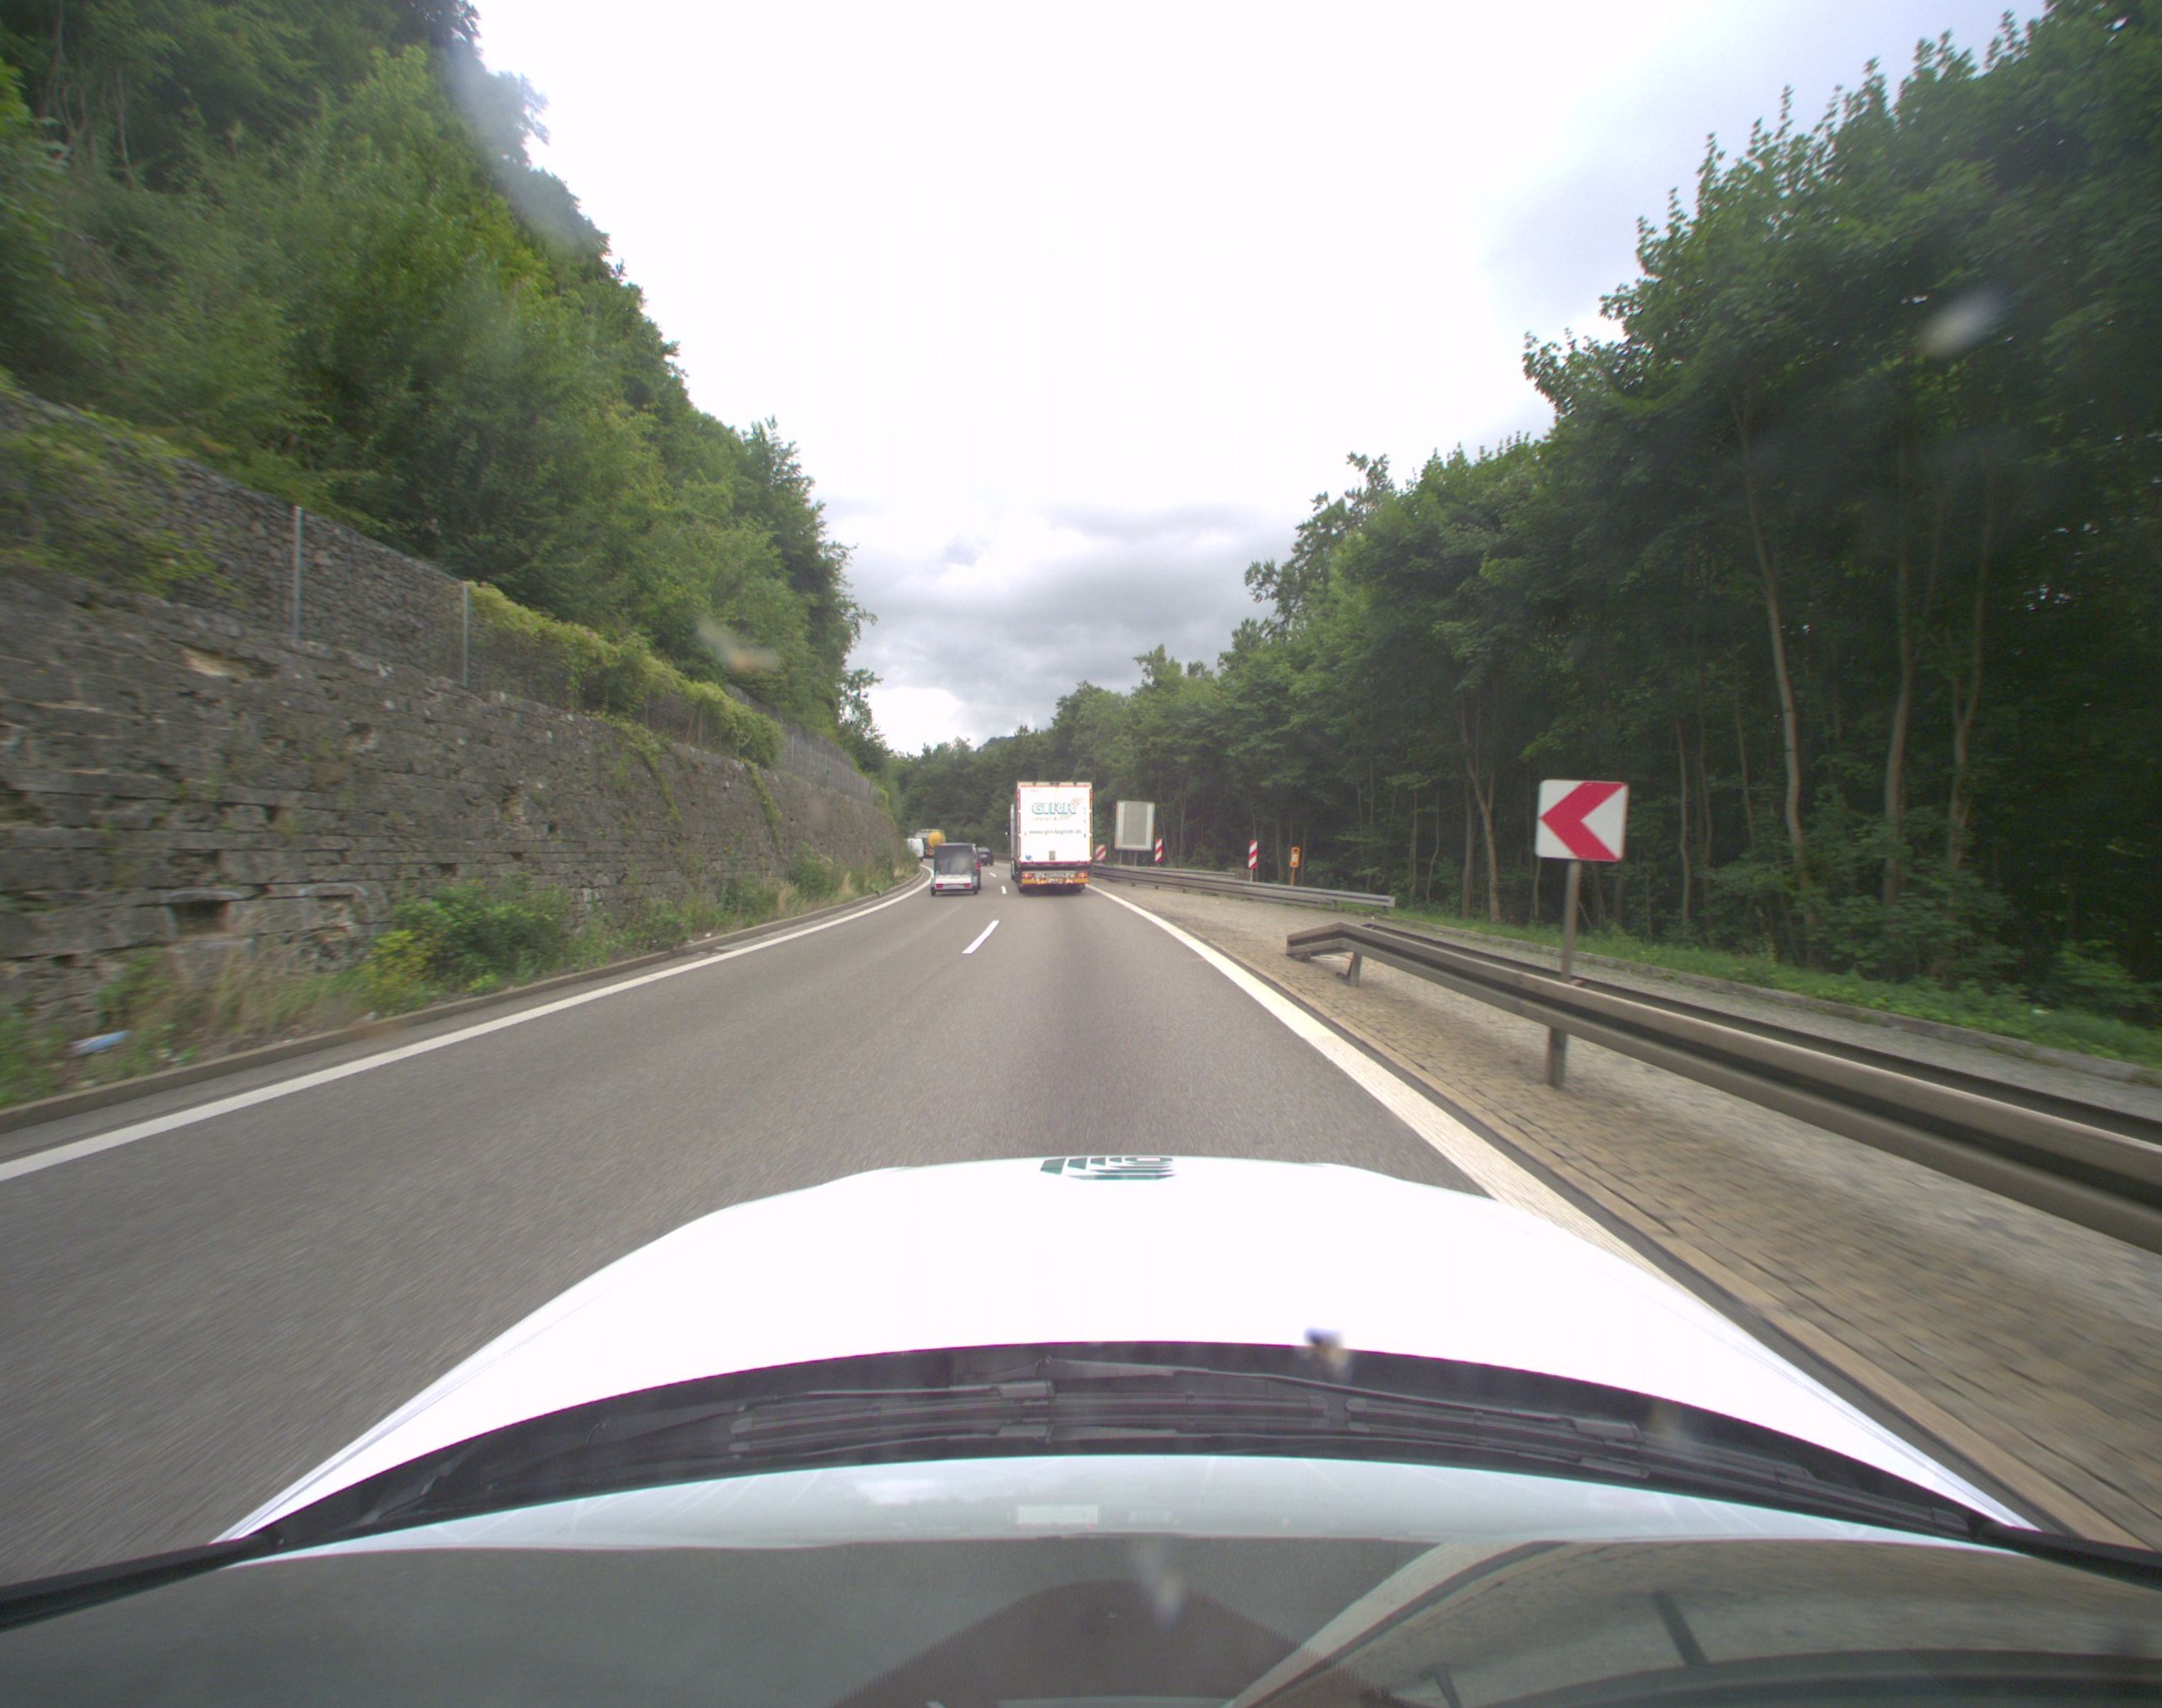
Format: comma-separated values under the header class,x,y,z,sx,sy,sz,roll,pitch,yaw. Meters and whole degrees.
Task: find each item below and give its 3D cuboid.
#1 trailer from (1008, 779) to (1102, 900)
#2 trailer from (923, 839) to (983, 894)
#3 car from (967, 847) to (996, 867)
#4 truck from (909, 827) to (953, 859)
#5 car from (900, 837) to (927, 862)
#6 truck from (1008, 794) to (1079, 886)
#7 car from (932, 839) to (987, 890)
class,x,y,z,sx,sy,sz,roll,pitch,yaw
trailer,-1.393,-0.667,33.542,3.053,3.985,12.117,2,2,-5
trailer,-4.756,0.447,30.673,1.968,1.939,3.424,-1,0,-5
car,-8.866,0.247,72.515,1.997,1.662,3.981,2,0,-15
truck,-20.203,-1.411,108.719,3.070,3.986,13.598,-1,1,-22
car,-19.372,-0.532,94.069,1.995,2.672,6.891,2,0,-20
truck,-1.970,-0.717,39.924,3.053,3.985,7.175,2,2,-5
car,-5.165,0.410,35.132,1.990,2.013,5.530,-1,0,-5
